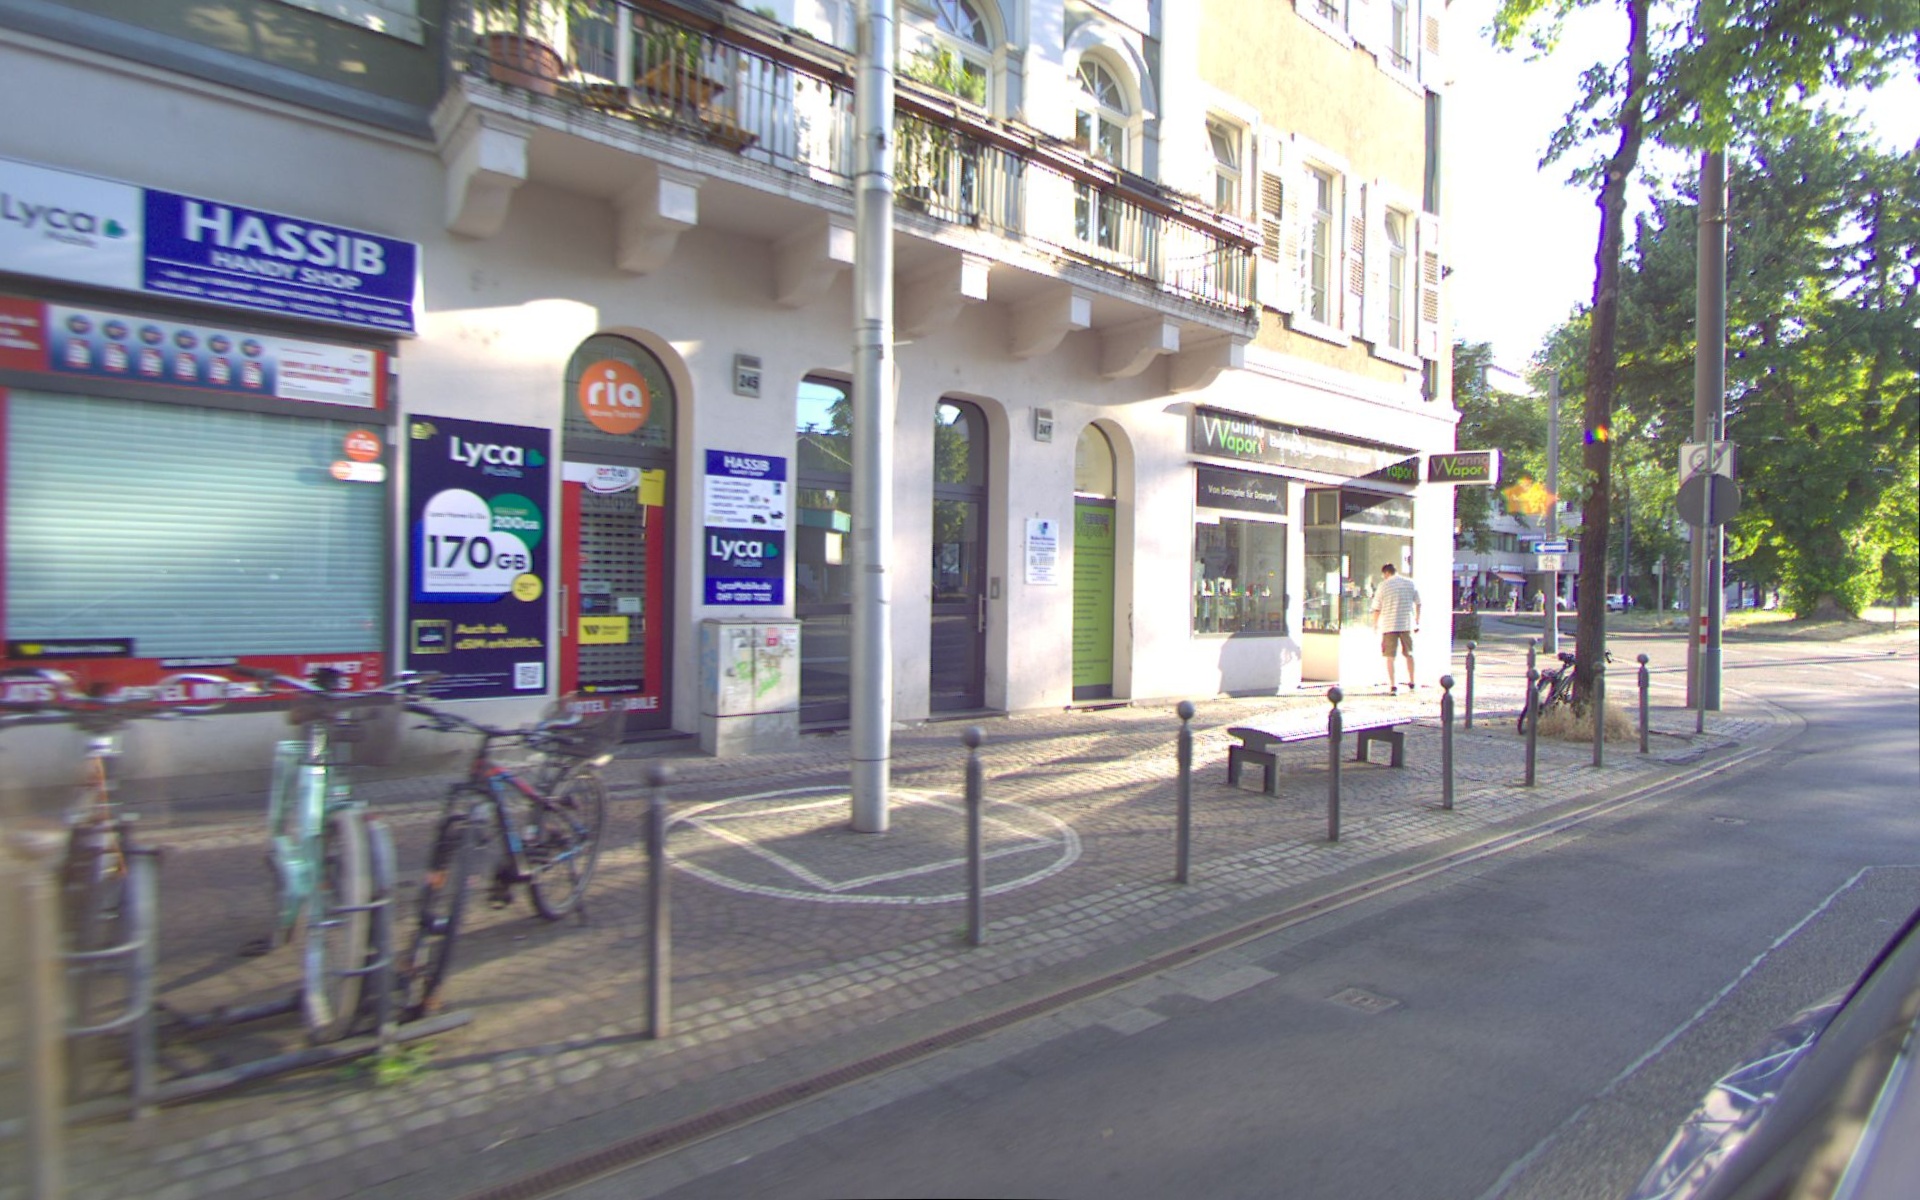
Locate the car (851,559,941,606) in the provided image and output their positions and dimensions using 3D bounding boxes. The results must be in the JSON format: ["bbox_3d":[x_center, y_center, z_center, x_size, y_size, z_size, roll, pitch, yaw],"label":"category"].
[{"bbox_3d":[-2.984,-0.820,46.529,1.964,2.039,4.433,0,1,-38],"label":"car"}]

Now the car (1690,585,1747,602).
[{"bbox_3d":[74.208,-0.613,99.056,4.429,1.626,2.004,0,0,-12],"label":"car"}]

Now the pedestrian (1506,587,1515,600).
[{"bbox_3d":[54.080,-0.639,99.421,0.610,1.337,0.583,2,1,42],"label":"pedestrian"}]

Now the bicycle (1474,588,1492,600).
[{"bbox_3d":[49.697,-0.563,96.154,1.431,1.004,0.527,3,3,25],"label":"bicycle"}]

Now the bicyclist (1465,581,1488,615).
[{"bbox_3d":[30.393,-0.121,59.537,0.910,1.999,1.110,0,0,10],"label":"bicyclist"}]

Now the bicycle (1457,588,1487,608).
[{"bbox_3d":[36.554,-0.146,72.231,1.267,1.378,3.195,1,1,40],"label":"bicycle"}]

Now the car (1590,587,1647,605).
[{"bbox_3d":[62.323,-0.402,95.809,4.429,1.626,2.004,0,0,-12],"label":"car"}]

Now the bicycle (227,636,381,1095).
[{"bbox_3d":[-2.409,0.763,3.643,0.341,1.169,1.871,0,1,-37],"label":"bicycle"}]

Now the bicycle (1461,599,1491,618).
[{"bbox_3d":[30.431,0.495,59.690,0.921,1.090,2.215,0,1,9],"label":"bicycle"}]

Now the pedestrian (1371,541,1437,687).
[{"bbox_3d":[6.388,0.183,14.599,0.833,2.039,0.840,0,1,22],"label":"pedestrian"}]

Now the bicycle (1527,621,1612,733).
[{"bbox_3d":[6.734,0.811,11.152,1.670,1.090,0.354,-1,1,-43],"label":"bicycle"}]

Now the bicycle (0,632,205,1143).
[{"bbox_3d":[-2.826,0.737,3.322,0.552,1.169,1.871,0,1,-37],"label":"bicycle"}]

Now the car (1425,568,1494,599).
[{"bbox_3d":[47.458,-1.602,96.172,2.144,2.760,5.426,0,3,-42],"label":"car"}]

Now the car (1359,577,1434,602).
[{"bbox_3d":[32.050,-0.775,74.365,4.695,1.793,1.968,1,1,44],"label":"car"}]

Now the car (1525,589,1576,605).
[{"bbox_3d":[54.796,-0.308,93.887,3.916,1.460,1.799,0,0,-13],"label":"car"}]

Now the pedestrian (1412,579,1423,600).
[{"bbox_3d":[42.151,-0.947,93.196,0.525,1.859,0.622,3,4,-8],"label":"pedestrian"}]

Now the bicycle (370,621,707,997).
[{"bbox_3d":[-1.624,0.708,4.210,0.454,1.169,1.676,0,1,11],"label":"bicycle"}]

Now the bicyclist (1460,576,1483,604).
[{"bbox_3d":[36.465,-0.718,72.124,1.231,2.017,1.347,1,1,40],"label":"bicyclist"}]
